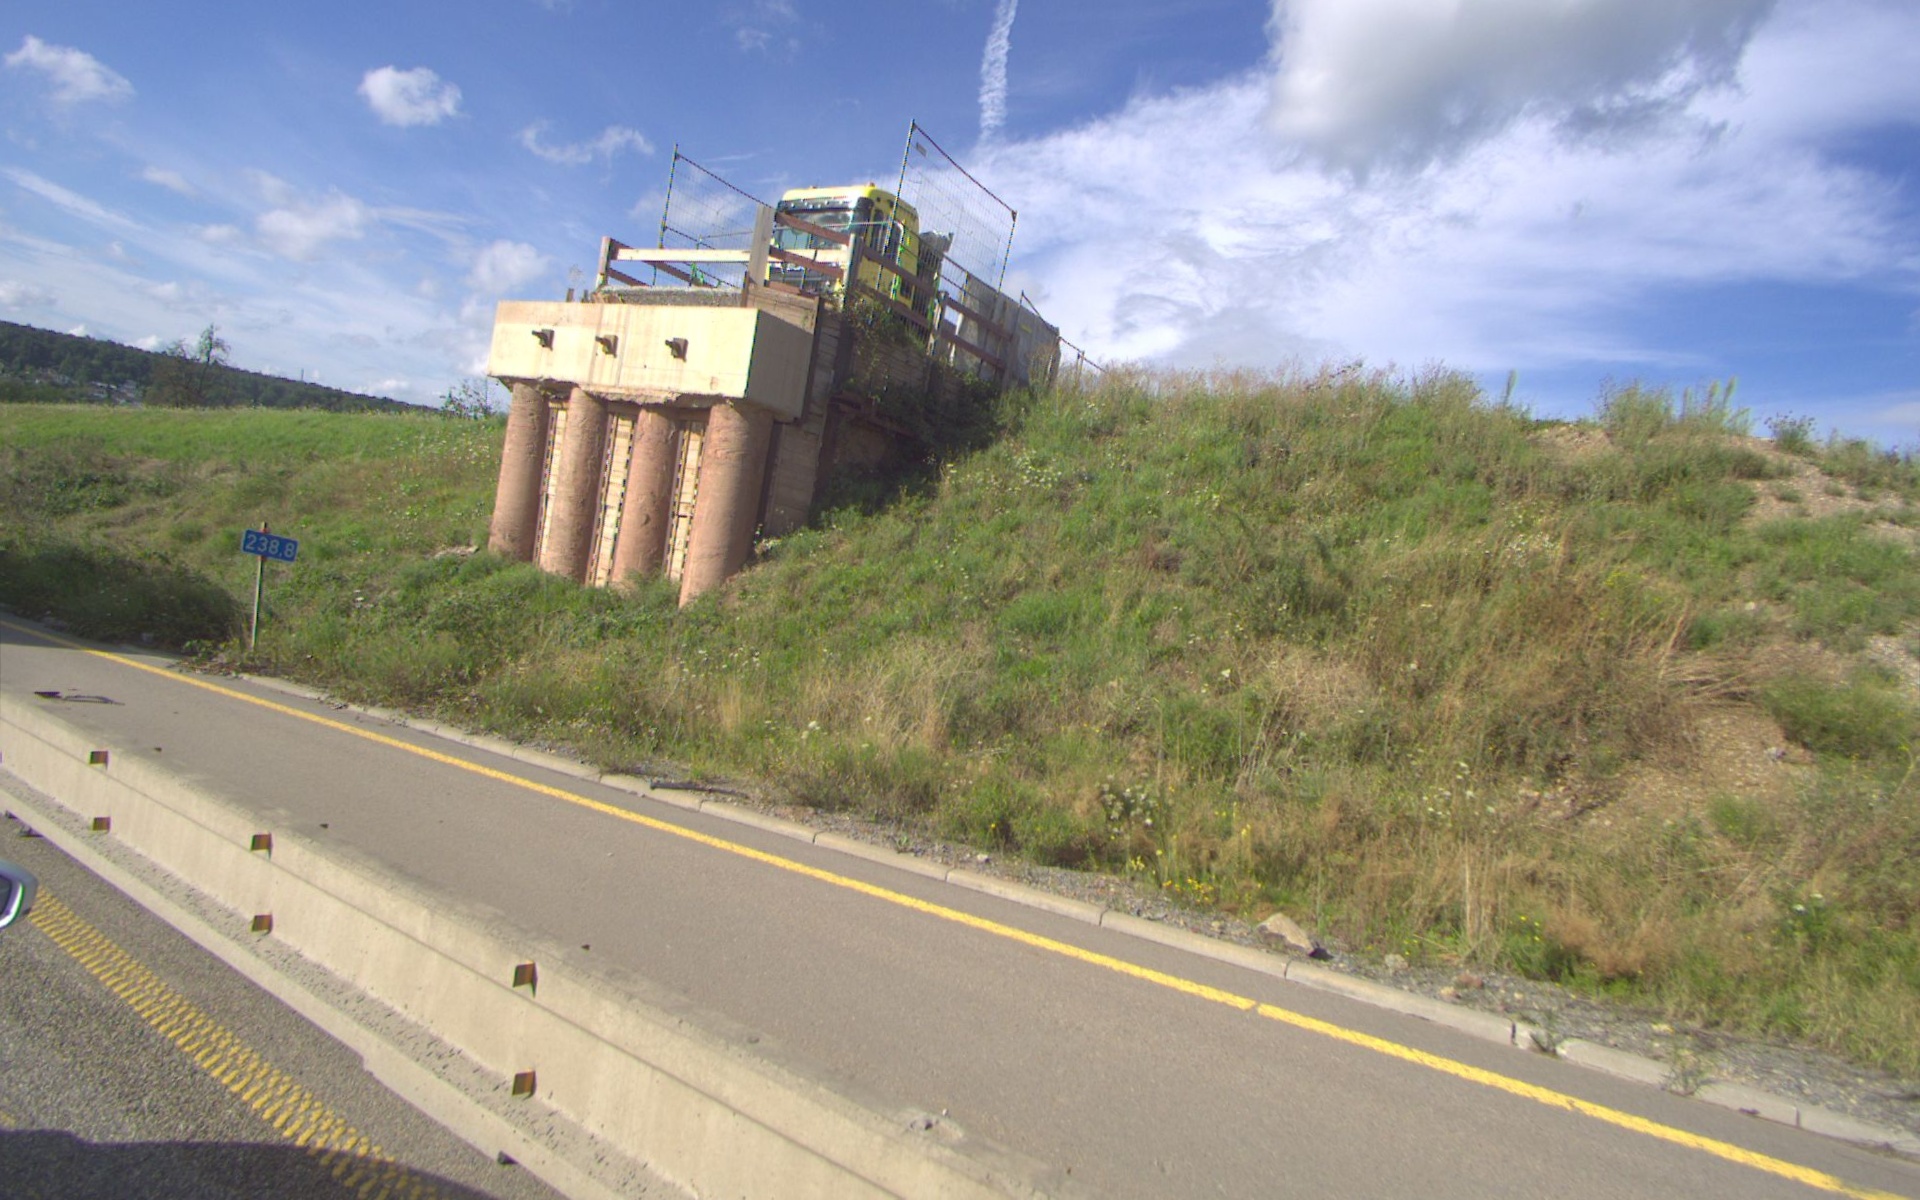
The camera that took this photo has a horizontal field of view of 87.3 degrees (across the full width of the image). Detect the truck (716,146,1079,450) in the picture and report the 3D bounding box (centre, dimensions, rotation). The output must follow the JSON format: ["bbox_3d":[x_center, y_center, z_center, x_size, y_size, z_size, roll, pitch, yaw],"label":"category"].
[{"bbox_3d":[-0.791,-5.919,21.983,2.910,3.266,9.280,7,-1,31],"label":"truck"}]
